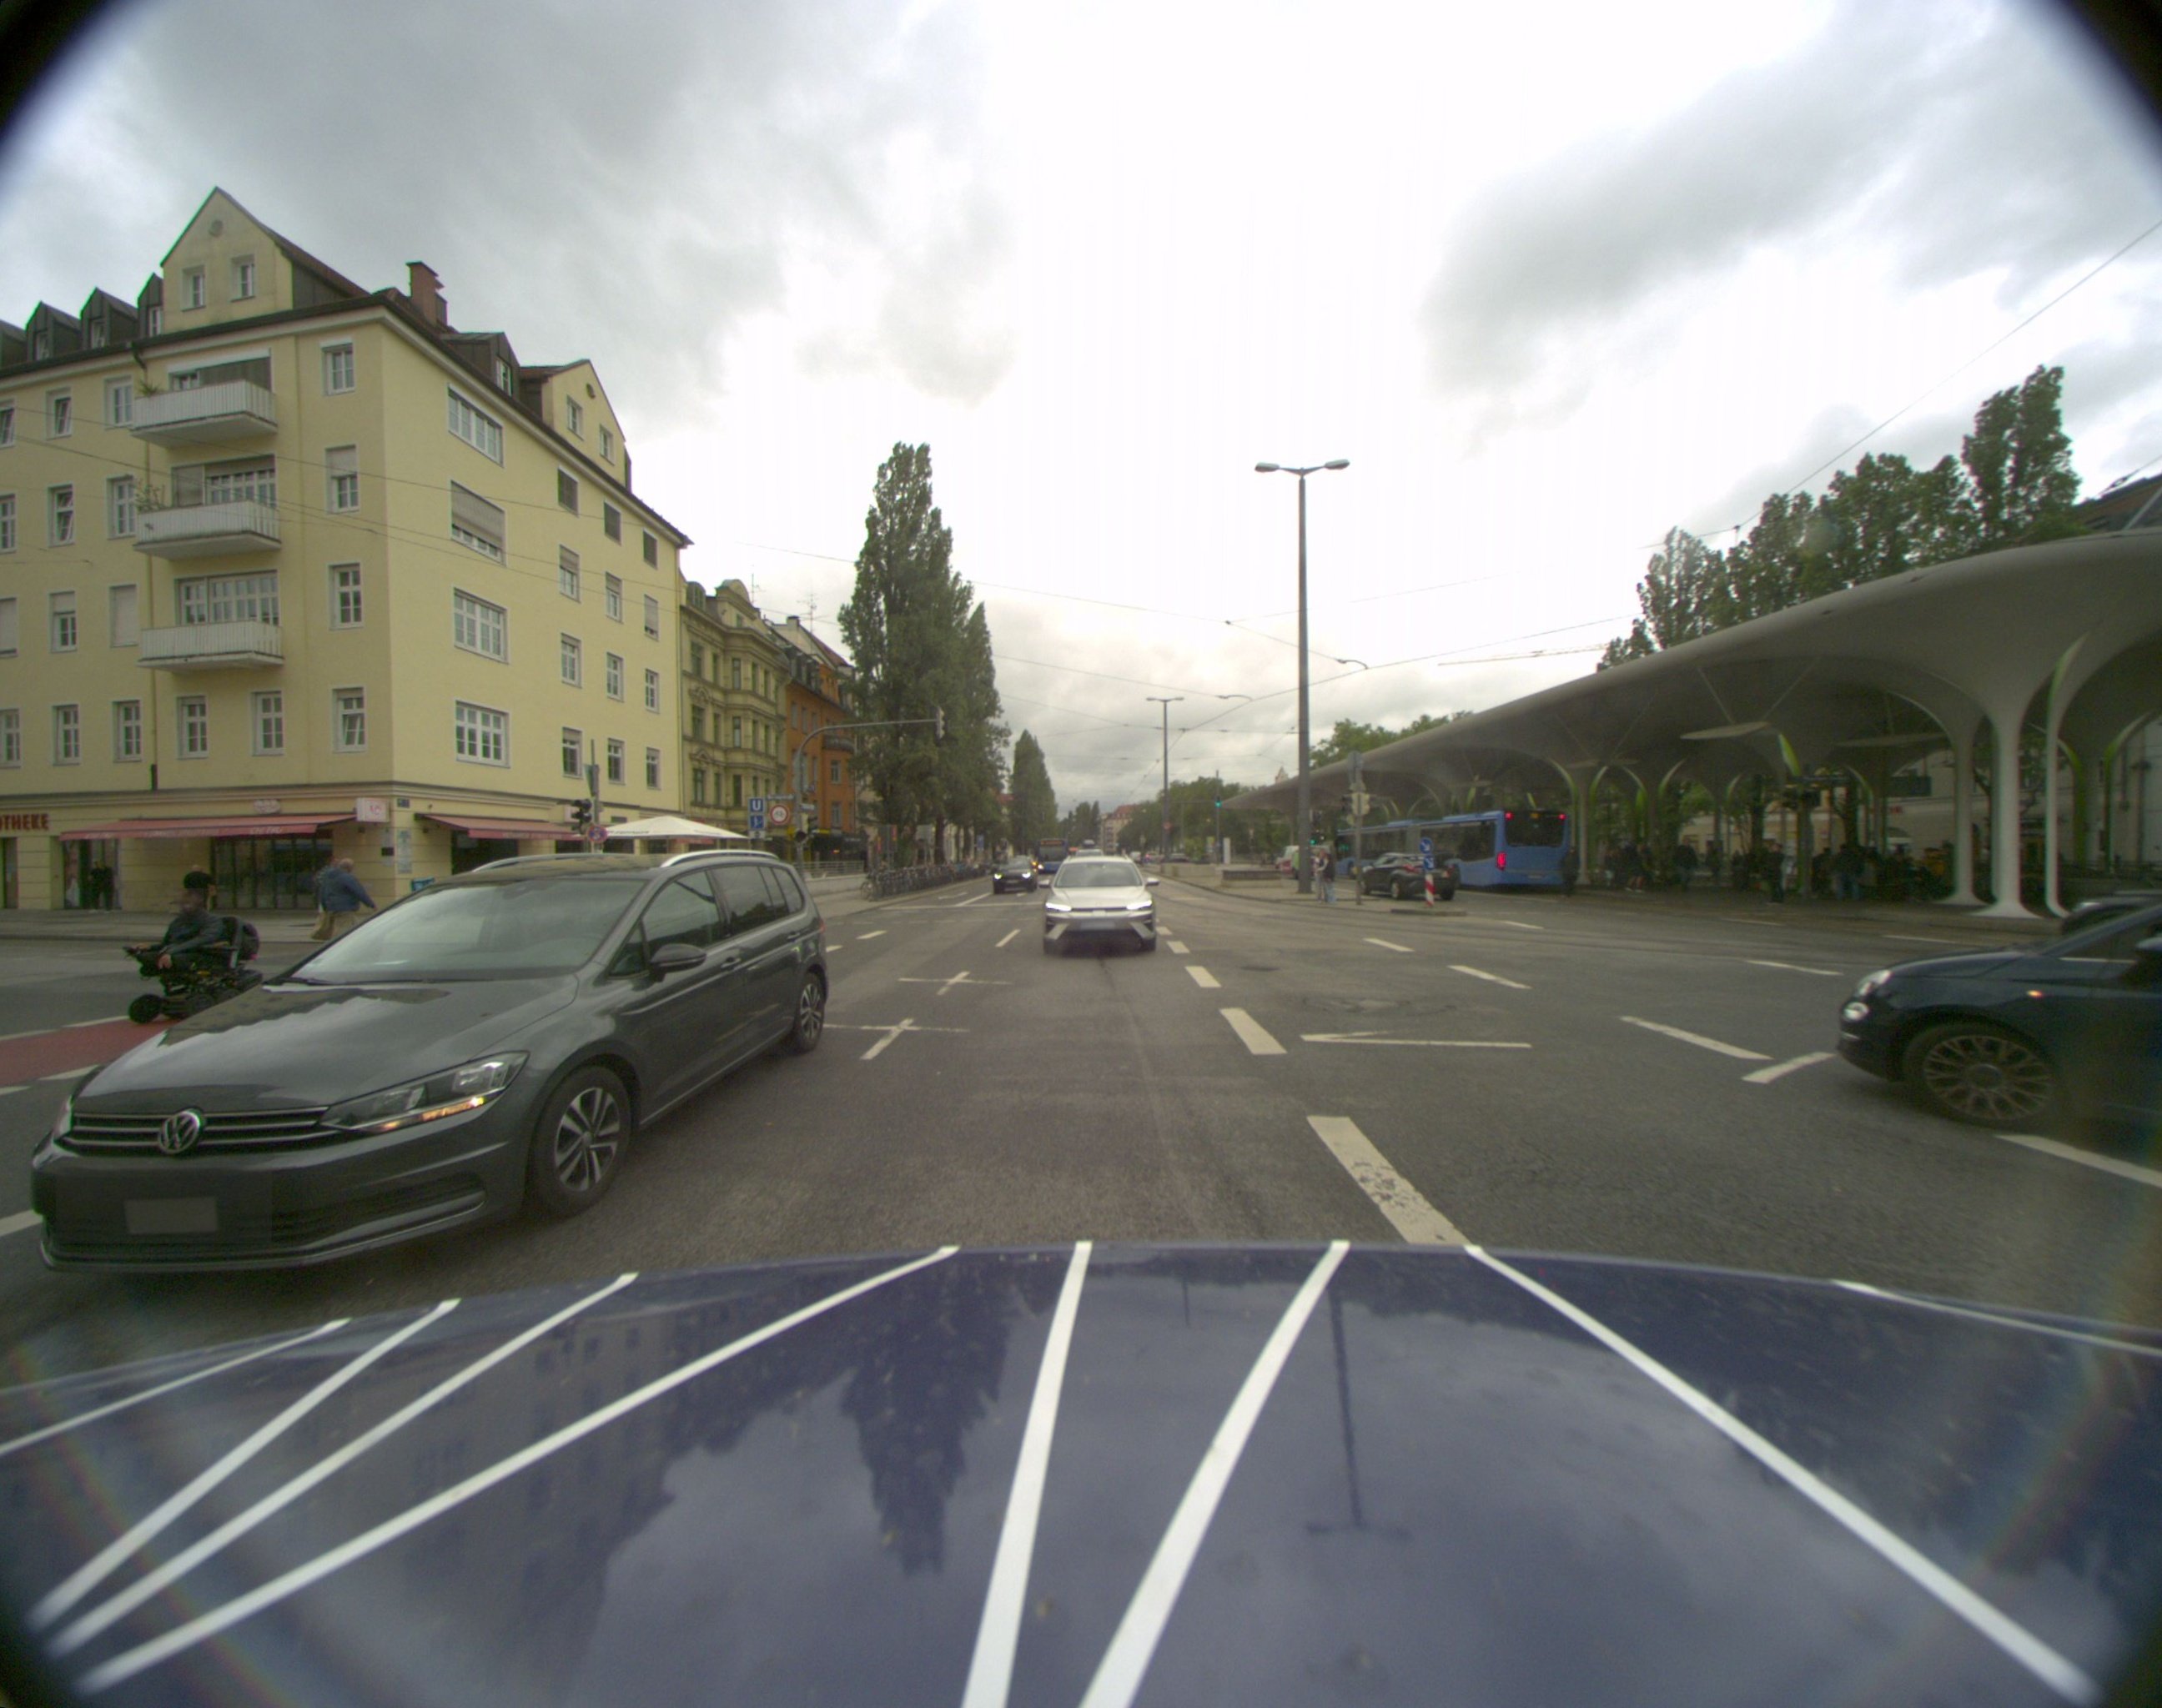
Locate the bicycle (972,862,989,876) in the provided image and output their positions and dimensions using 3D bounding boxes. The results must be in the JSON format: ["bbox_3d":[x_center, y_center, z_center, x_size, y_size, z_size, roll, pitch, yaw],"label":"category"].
[{"bbox_3d":[-7.545,1.126,57.058,0.376,0.990,1.837,-1,-1,-38],"label":"bicycle"}]

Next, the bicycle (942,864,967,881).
[{"bbox_3d":[-7.739,1.143,46.598,1.837,0.990,0.326,-2,-1,38],"label":"bicycle"}]

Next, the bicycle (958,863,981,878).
[{"bbox_3d":[-7.651,1.136,52.189,1.837,0.990,0.376,-2,-1,38],"label":"bicycle"}]

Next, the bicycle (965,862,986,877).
[{"bbox_3d":[-7.621,1.132,54.934,1.837,0.990,0.376,-2,-1,39],"label":"bicycle"}]

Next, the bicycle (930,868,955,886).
[{"bbox_3d":[-7.948,1.332,43.619,1.837,0.990,0.326,-2,-1,41],"label":"bicycle"}]

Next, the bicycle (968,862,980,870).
[{"bbox_3d":[-12.808,1.433,91.015,0.391,0.972,1.842,-1,1,27],"label":"bicycle"}]

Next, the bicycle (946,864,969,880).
[{"bbox_3d":[-7.710,1.141,47.309,1.837,0.990,0.326,-2,-1,43],"label":"bicycle"}]

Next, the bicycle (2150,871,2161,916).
[{"bbox_3d":[27.332,0.991,18.204,0.654,1.112,2.184,0,0,11],"label":"bicycle"}]

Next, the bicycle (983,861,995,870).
[{"bbox_3d":[-11.026,1.341,90.970,0.445,1.017,1.842,-1,1,27],"label":"bicycle"}]

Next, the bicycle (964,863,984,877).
[{"bbox_3d":[-7.635,1.133,54.311,0.376,0.990,1.837,-1,-1,-45],"label":"bicycle"}]

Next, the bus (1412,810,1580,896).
[{"bbox_3d":[16.293,-0.033,30.616,2.667,2.990,7.513,1,0,1],"label":"bus"}]

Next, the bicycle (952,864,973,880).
[{"bbox_3d":[-7.566,1.133,48.401,0.326,0.990,1.837,-1,-1,-42],"label":"bicycle"}]

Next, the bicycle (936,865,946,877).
[{"bbox_3d":[-11.054,1.304,59.931,0.458,0.887,1.893,-1,0,0],"label":"bicycle"}]

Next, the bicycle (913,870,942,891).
[{"bbox_3d":[-7.820,1.330,38.651,1.836,0.990,0.349,1,1,40],"label":"bicycle"}]

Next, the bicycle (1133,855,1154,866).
[{"bbox_3d":[6.838,0.687,83.065,2.234,1.144,0.505,-2,1,-25],"label":"bicycle"}]

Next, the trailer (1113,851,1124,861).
[{"bbox_3d":[10.915,0.569,222.341,2.616,2.666,15.639,1,0,0],"label":"trailer"}]

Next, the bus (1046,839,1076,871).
[{"bbox_3d":[-1.947,0.115,77.986,2.637,2.956,8.534,-3,0,1],"label":"bus"}]

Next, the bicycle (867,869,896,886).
[{"bbox_3d":[-12.620,1.474,48.112,1.727,1.039,0.387,-1,-1,-5],"label":"bicycle"}]

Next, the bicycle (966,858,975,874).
[{"bbox_3d":[-9.022,0.944,62.229,0.424,1.280,1.778,-1,0,2],"label":"bicycle"}]

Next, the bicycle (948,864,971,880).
[{"bbox_3d":[-7.682,1.139,47.961,1.837,0.990,0.326,-2,-1,43],"label":"bicycle"}]

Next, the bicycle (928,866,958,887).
[{"bbox_3d":[-7.814,1.258,42.863,1.837,1.106,0.468,0,0,33],"label":"bicycle"}]

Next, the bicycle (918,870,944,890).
[{"bbox_3d":[-7.760,1.328,39.314,1.836,0.990,0.349,1,1,45],"label":"bicycle"}]

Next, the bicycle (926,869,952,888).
[{"bbox_3d":[-7.749,1.325,41.386,1.836,0.990,0.349,1,1,41],"label":"bicycle"}]

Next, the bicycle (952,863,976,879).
[{"bbox_3d":[-7.724,1.139,50.082,1.837,0.990,0.326,-2,-1,33],"label":"bicycle"}]

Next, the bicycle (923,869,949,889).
[{"bbox_3d":[-7.782,1.327,40.721,1.836,0.990,0.349,1,1,41],"label":"bicycle"}]

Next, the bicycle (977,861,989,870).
[{"bbox_3d":[-11.751,1.388,90.880,0.445,1.017,1.842,-1,1,27],"label":"bicycle"}]

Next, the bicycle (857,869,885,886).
[{"bbox_3d":[-13.527,1.516,48.983,1.725,1.039,0.388,-2,-1,12],"label":"bicycle"}]

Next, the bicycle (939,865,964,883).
[{"bbox_3d":[-7.726,1.198,45.325,1.837,0.990,0.326,-2,-1,38],"label":"bicycle"}]

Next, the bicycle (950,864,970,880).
[{"bbox_3d":[-7.832,1.145,49.064,0.326,0.990,1.837,-1,-1,-42],"label":"bicycle"}]

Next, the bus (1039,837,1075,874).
[{"bbox_3d":[-2.093,0.134,68.989,2.637,2.956,9.466,-3,0,1],"label":"bus"}]

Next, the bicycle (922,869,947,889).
[{"bbox_3d":[-7.722,1.325,40.031,1.836,0.990,0.349,1,1,45],"label":"bicycle"}]

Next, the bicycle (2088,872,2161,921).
[{"bbox_3d":[26.039,1.018,18.420,0.642,1.118,2.167,0,0,10],"label":"bicycle"}]

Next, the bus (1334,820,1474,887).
[{"bbox_3d":[16.366,-0.031,39.618,2.667,2.990,10.514,1,0,-1],"label":"bus"}]

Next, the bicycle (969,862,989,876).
[{"bbox_3d":[-7.579,1.129,56.364,0.376,0.990,1.837,-1,-1,-44],"label":"bicycle"}]

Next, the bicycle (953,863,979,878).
[{"bbox_3d":[-7.826,1.142,51.519,1.837,0.990,0.376,-2,-1,25],"label":"bicycle"}]

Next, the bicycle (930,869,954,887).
[{"bbox_3d":[-7.694,1.322,42.160,0.326,0.990,1.837,-1,1,-45],"label":"bicycle"}]

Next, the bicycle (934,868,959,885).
[{"bbox_3d":[-7.826,1.326,44.194,1.837,0.990,0.326,-2,-1,41],"label":"bicycle"}]

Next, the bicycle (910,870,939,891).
[{"bbox_3d":[-7.826,1.331,37.996,1.836,0.990,0.349,1,1,40],"label":"bicycle"}]

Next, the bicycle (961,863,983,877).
[{"bbox_3d":[-7.685,1.137,53.574,1.837,0.990,0.376,-2,-1,38],"label":"bicycle"}]

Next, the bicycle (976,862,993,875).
[{"bbox_3d":[-7.455,1.121,58.462,0.376,0.990,1.837,-1,-1,-38],"label":"bicycle"}]

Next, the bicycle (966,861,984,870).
[{"bbox_3d":[-11.397,1.192,81.672,1.837,0.911,0.392,-2,1,2],"label":"bicycle"}]

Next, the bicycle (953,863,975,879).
[{"bbox_3d":[-7.635,1.136,49.429,1.837,0.990,0.326,-2,-1,43],"label":"bicycle"}]
